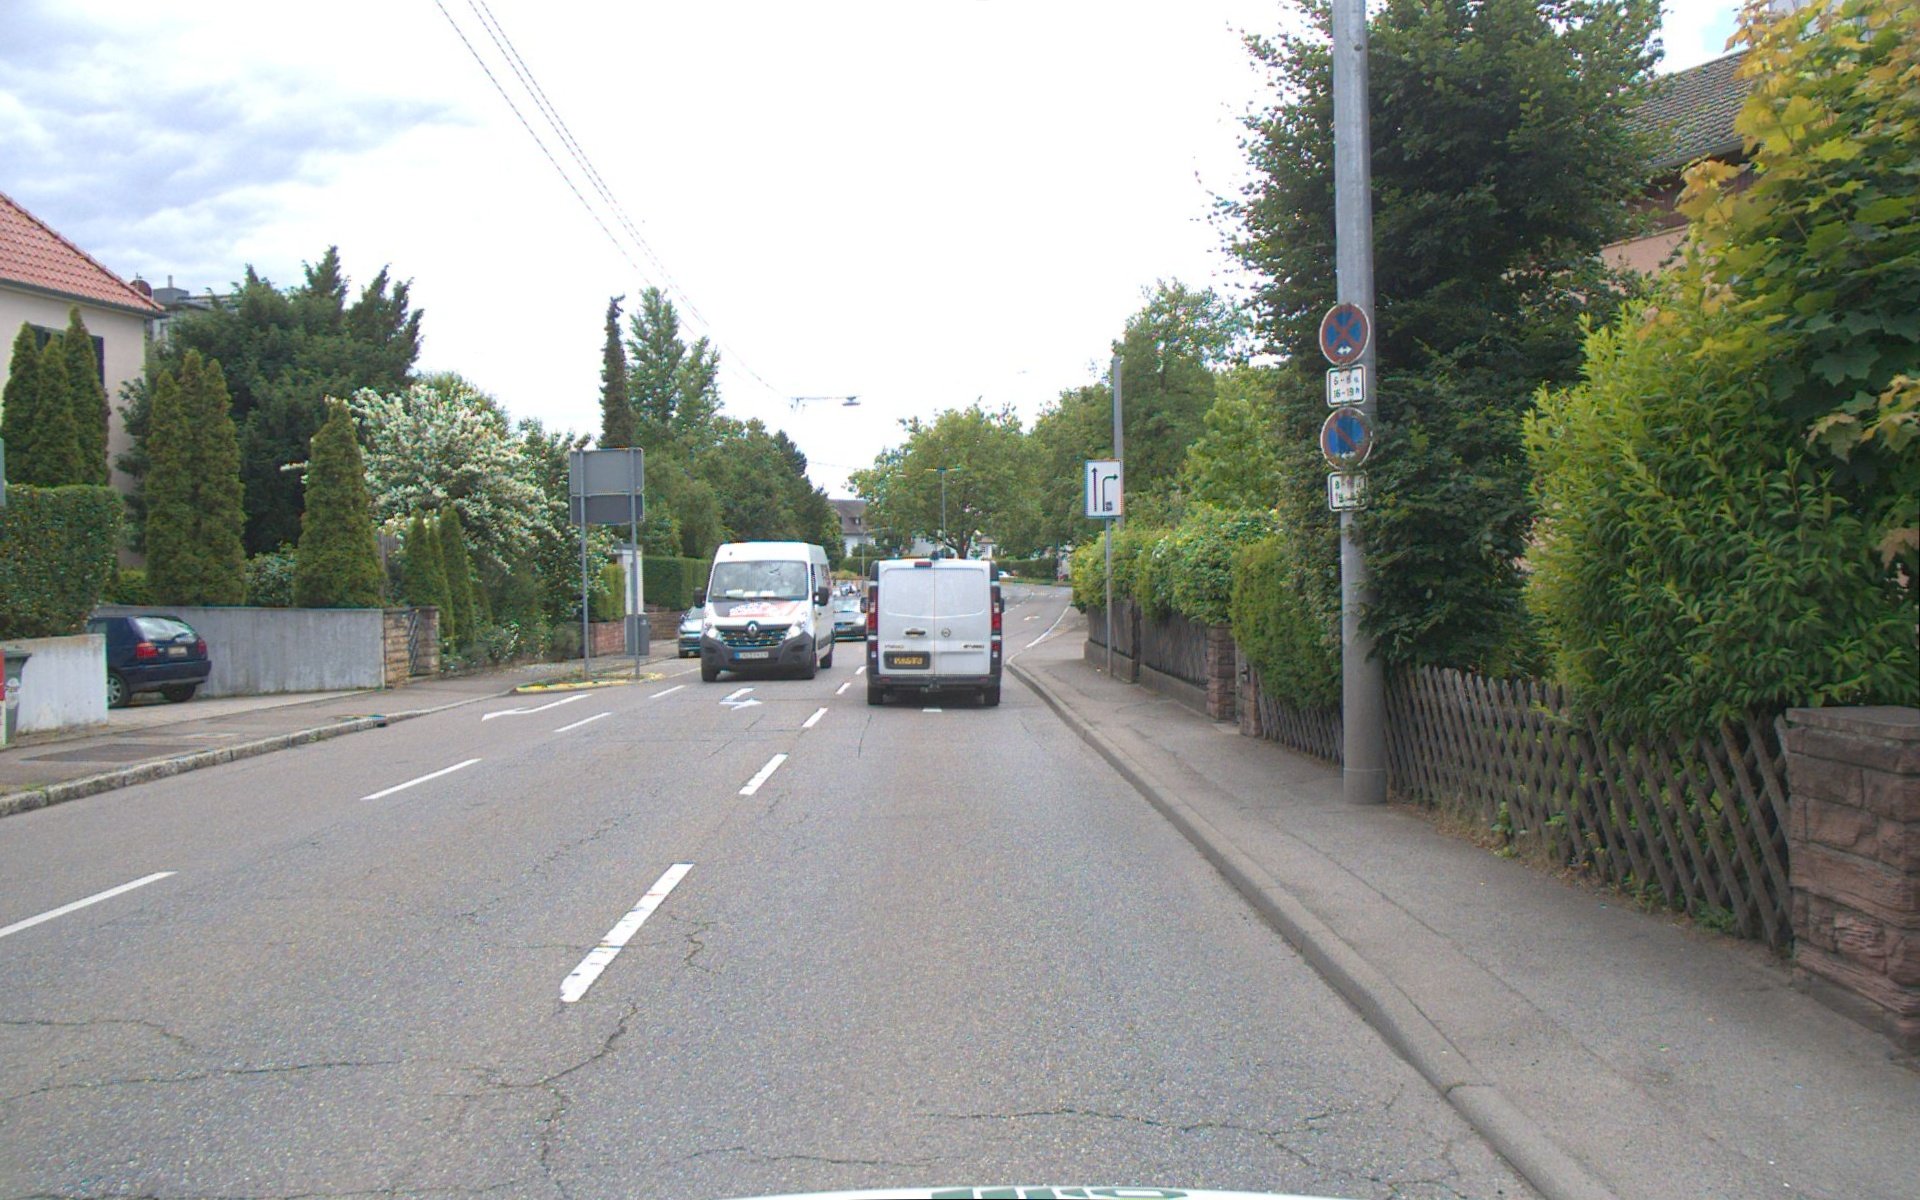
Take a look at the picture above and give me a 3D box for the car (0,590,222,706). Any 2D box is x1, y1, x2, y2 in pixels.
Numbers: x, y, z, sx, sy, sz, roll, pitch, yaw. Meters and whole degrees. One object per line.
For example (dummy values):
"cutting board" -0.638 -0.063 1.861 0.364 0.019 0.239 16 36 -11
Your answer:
"car" -13.511 0.740 25.559 3.512 1.620 1.644 -3 0 13

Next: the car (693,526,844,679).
"car" -3.443 0.047 30.908 2.068 2.542 6.124 -1 0 0

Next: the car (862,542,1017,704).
"car" -0.342 0.277 24.034 1.966 2.073 5.008 1 0 -2

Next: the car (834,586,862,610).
"car" -7.795 -0.147 115.449 1.850 1.653 4.429 -1 0 -3

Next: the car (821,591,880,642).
"car" -3.624 0.513 55.525 1.699 1.580 4.447 -1 0 -1

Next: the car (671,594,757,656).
"car" -6.656 0.633 45.221 1.773 1.480 4.412 -3 1 -2

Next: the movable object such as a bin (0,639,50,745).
"movable object such as a bin" -9.190 0.881 15.957 0.497 0.990 0.540 -1 0 2

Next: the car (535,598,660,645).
"car" -11.775 0.688 53.838 3.512 1.415 1.851 -1 0 8
